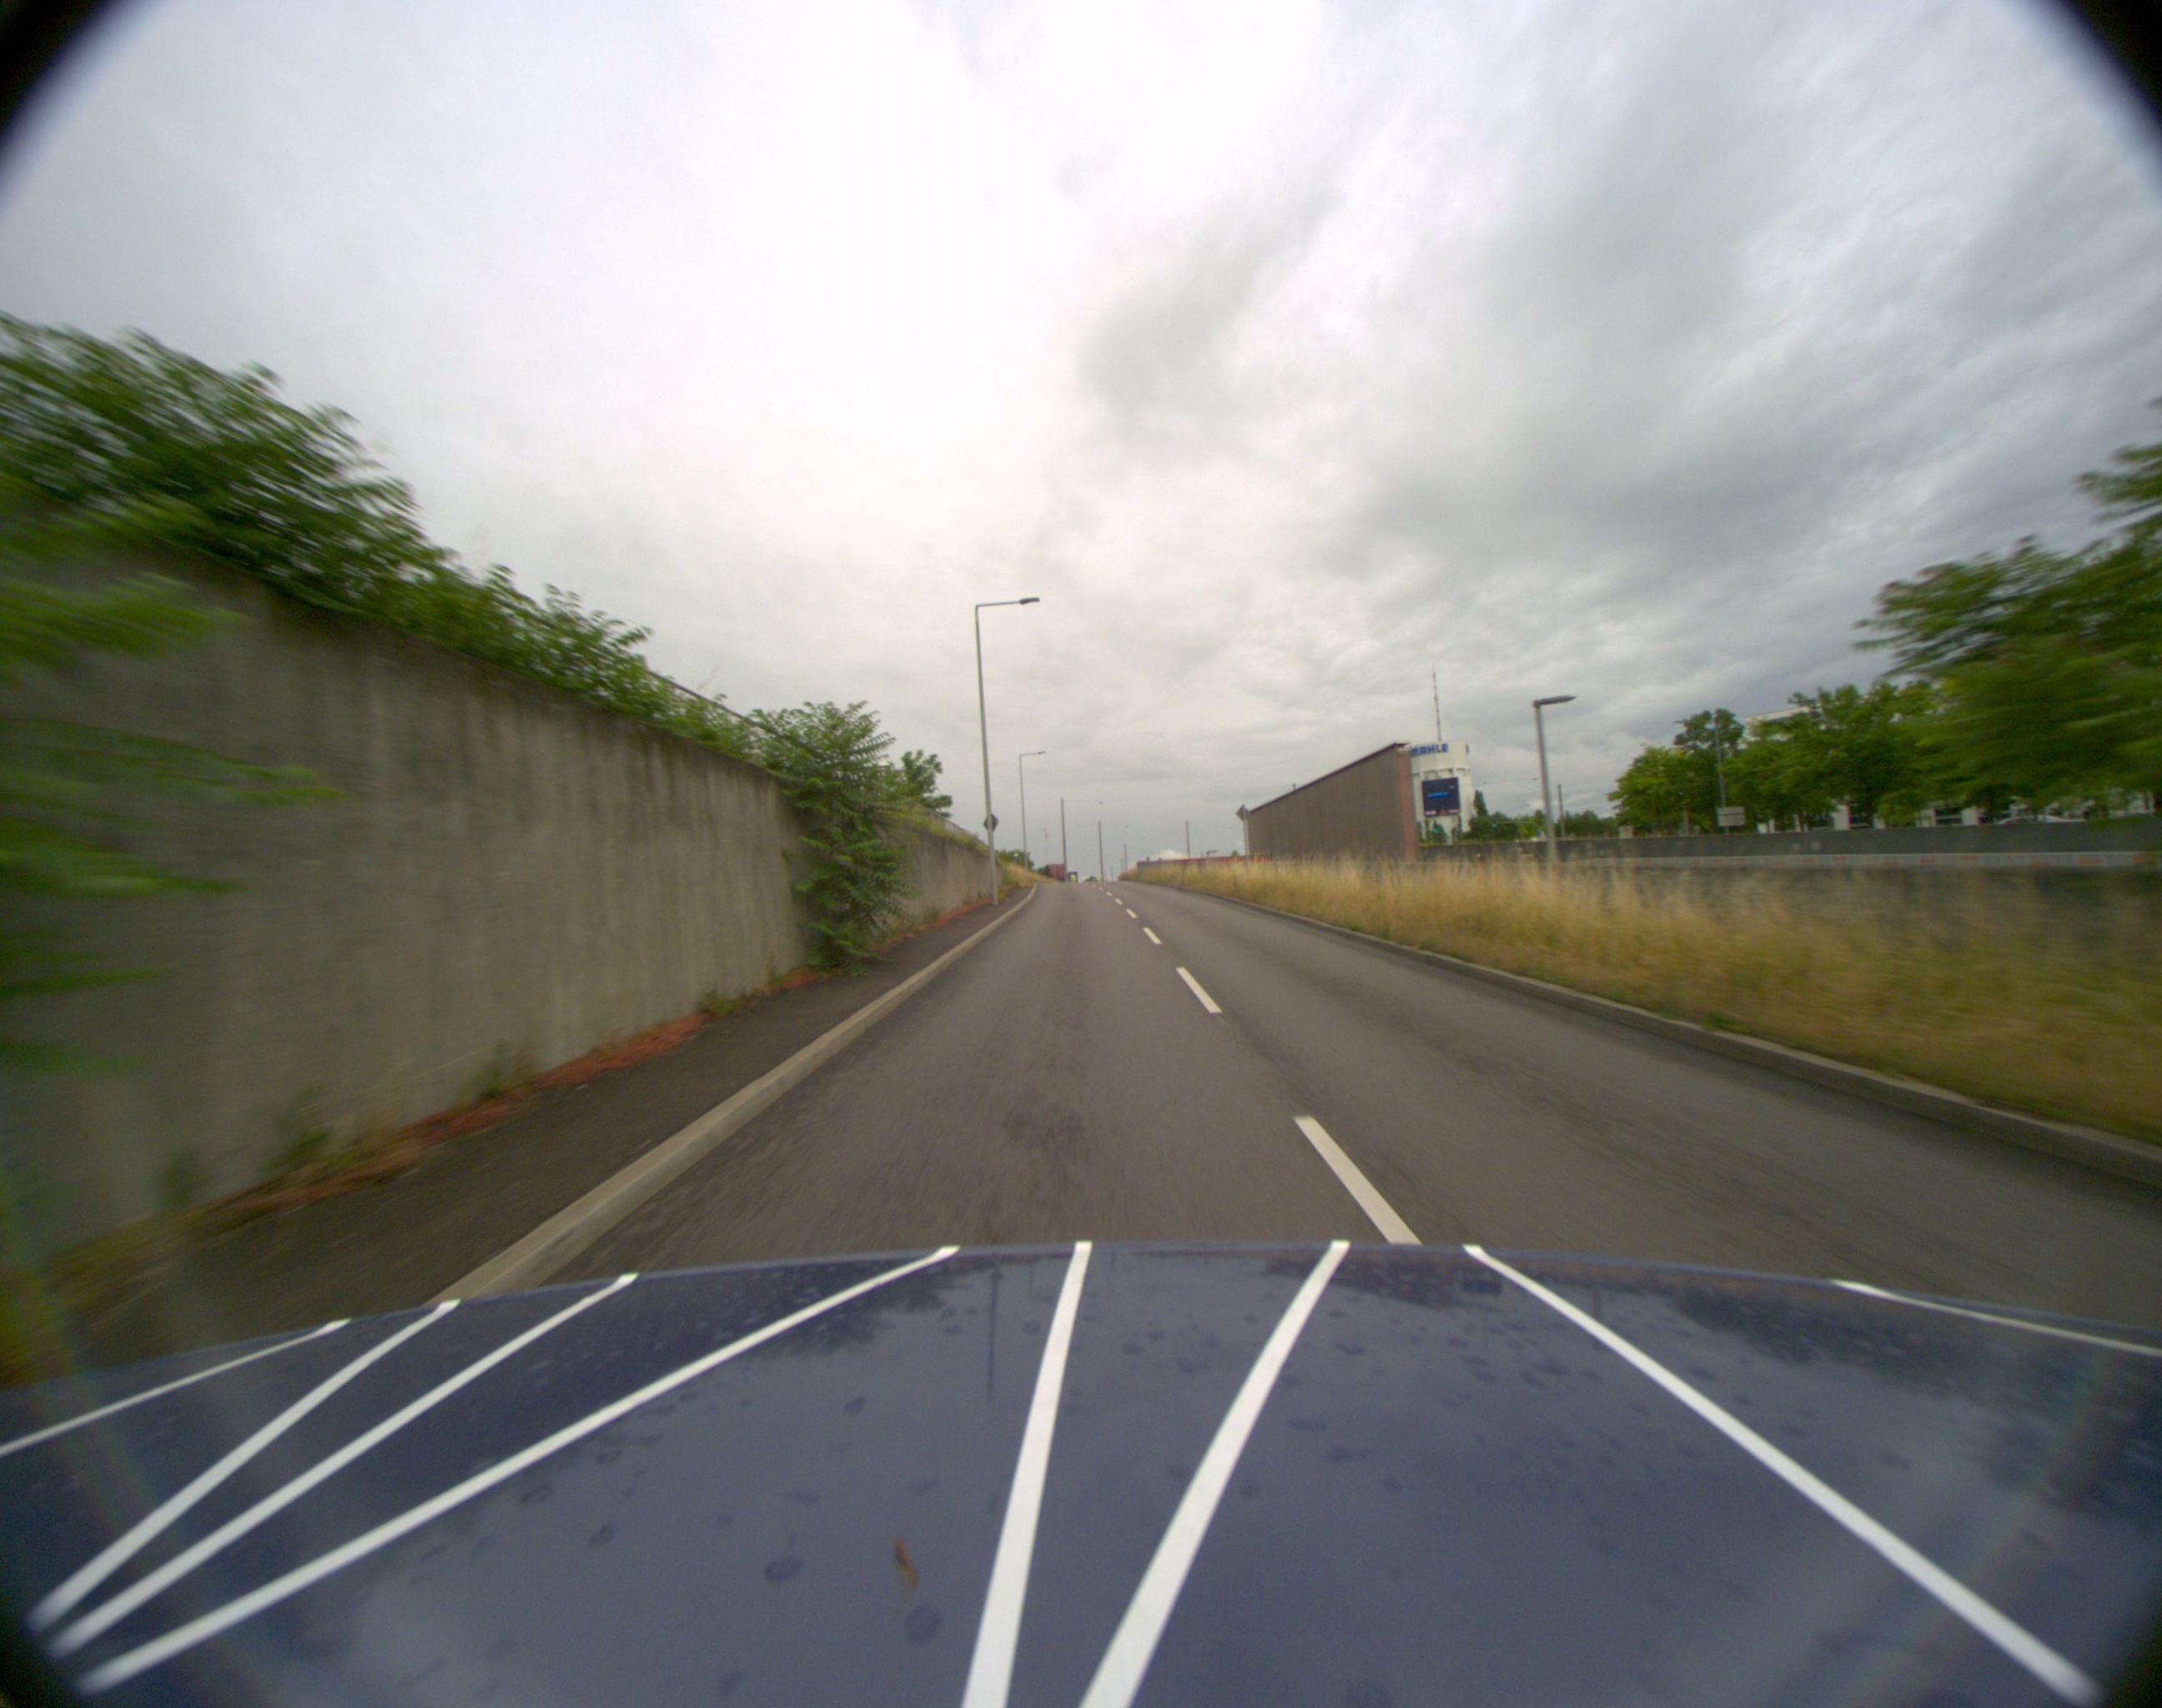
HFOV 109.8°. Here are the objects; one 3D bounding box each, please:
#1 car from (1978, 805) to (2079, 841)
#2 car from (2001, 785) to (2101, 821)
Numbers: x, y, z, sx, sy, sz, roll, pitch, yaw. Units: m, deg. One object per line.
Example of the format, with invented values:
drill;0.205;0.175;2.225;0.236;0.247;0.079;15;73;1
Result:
car;68.981;-2.209;55.432;1.999;2.000;4.002;-5;-4;-4
car;72.474;-3.765;56.885;1.999;2.000;4.002;-6;-4;-3
